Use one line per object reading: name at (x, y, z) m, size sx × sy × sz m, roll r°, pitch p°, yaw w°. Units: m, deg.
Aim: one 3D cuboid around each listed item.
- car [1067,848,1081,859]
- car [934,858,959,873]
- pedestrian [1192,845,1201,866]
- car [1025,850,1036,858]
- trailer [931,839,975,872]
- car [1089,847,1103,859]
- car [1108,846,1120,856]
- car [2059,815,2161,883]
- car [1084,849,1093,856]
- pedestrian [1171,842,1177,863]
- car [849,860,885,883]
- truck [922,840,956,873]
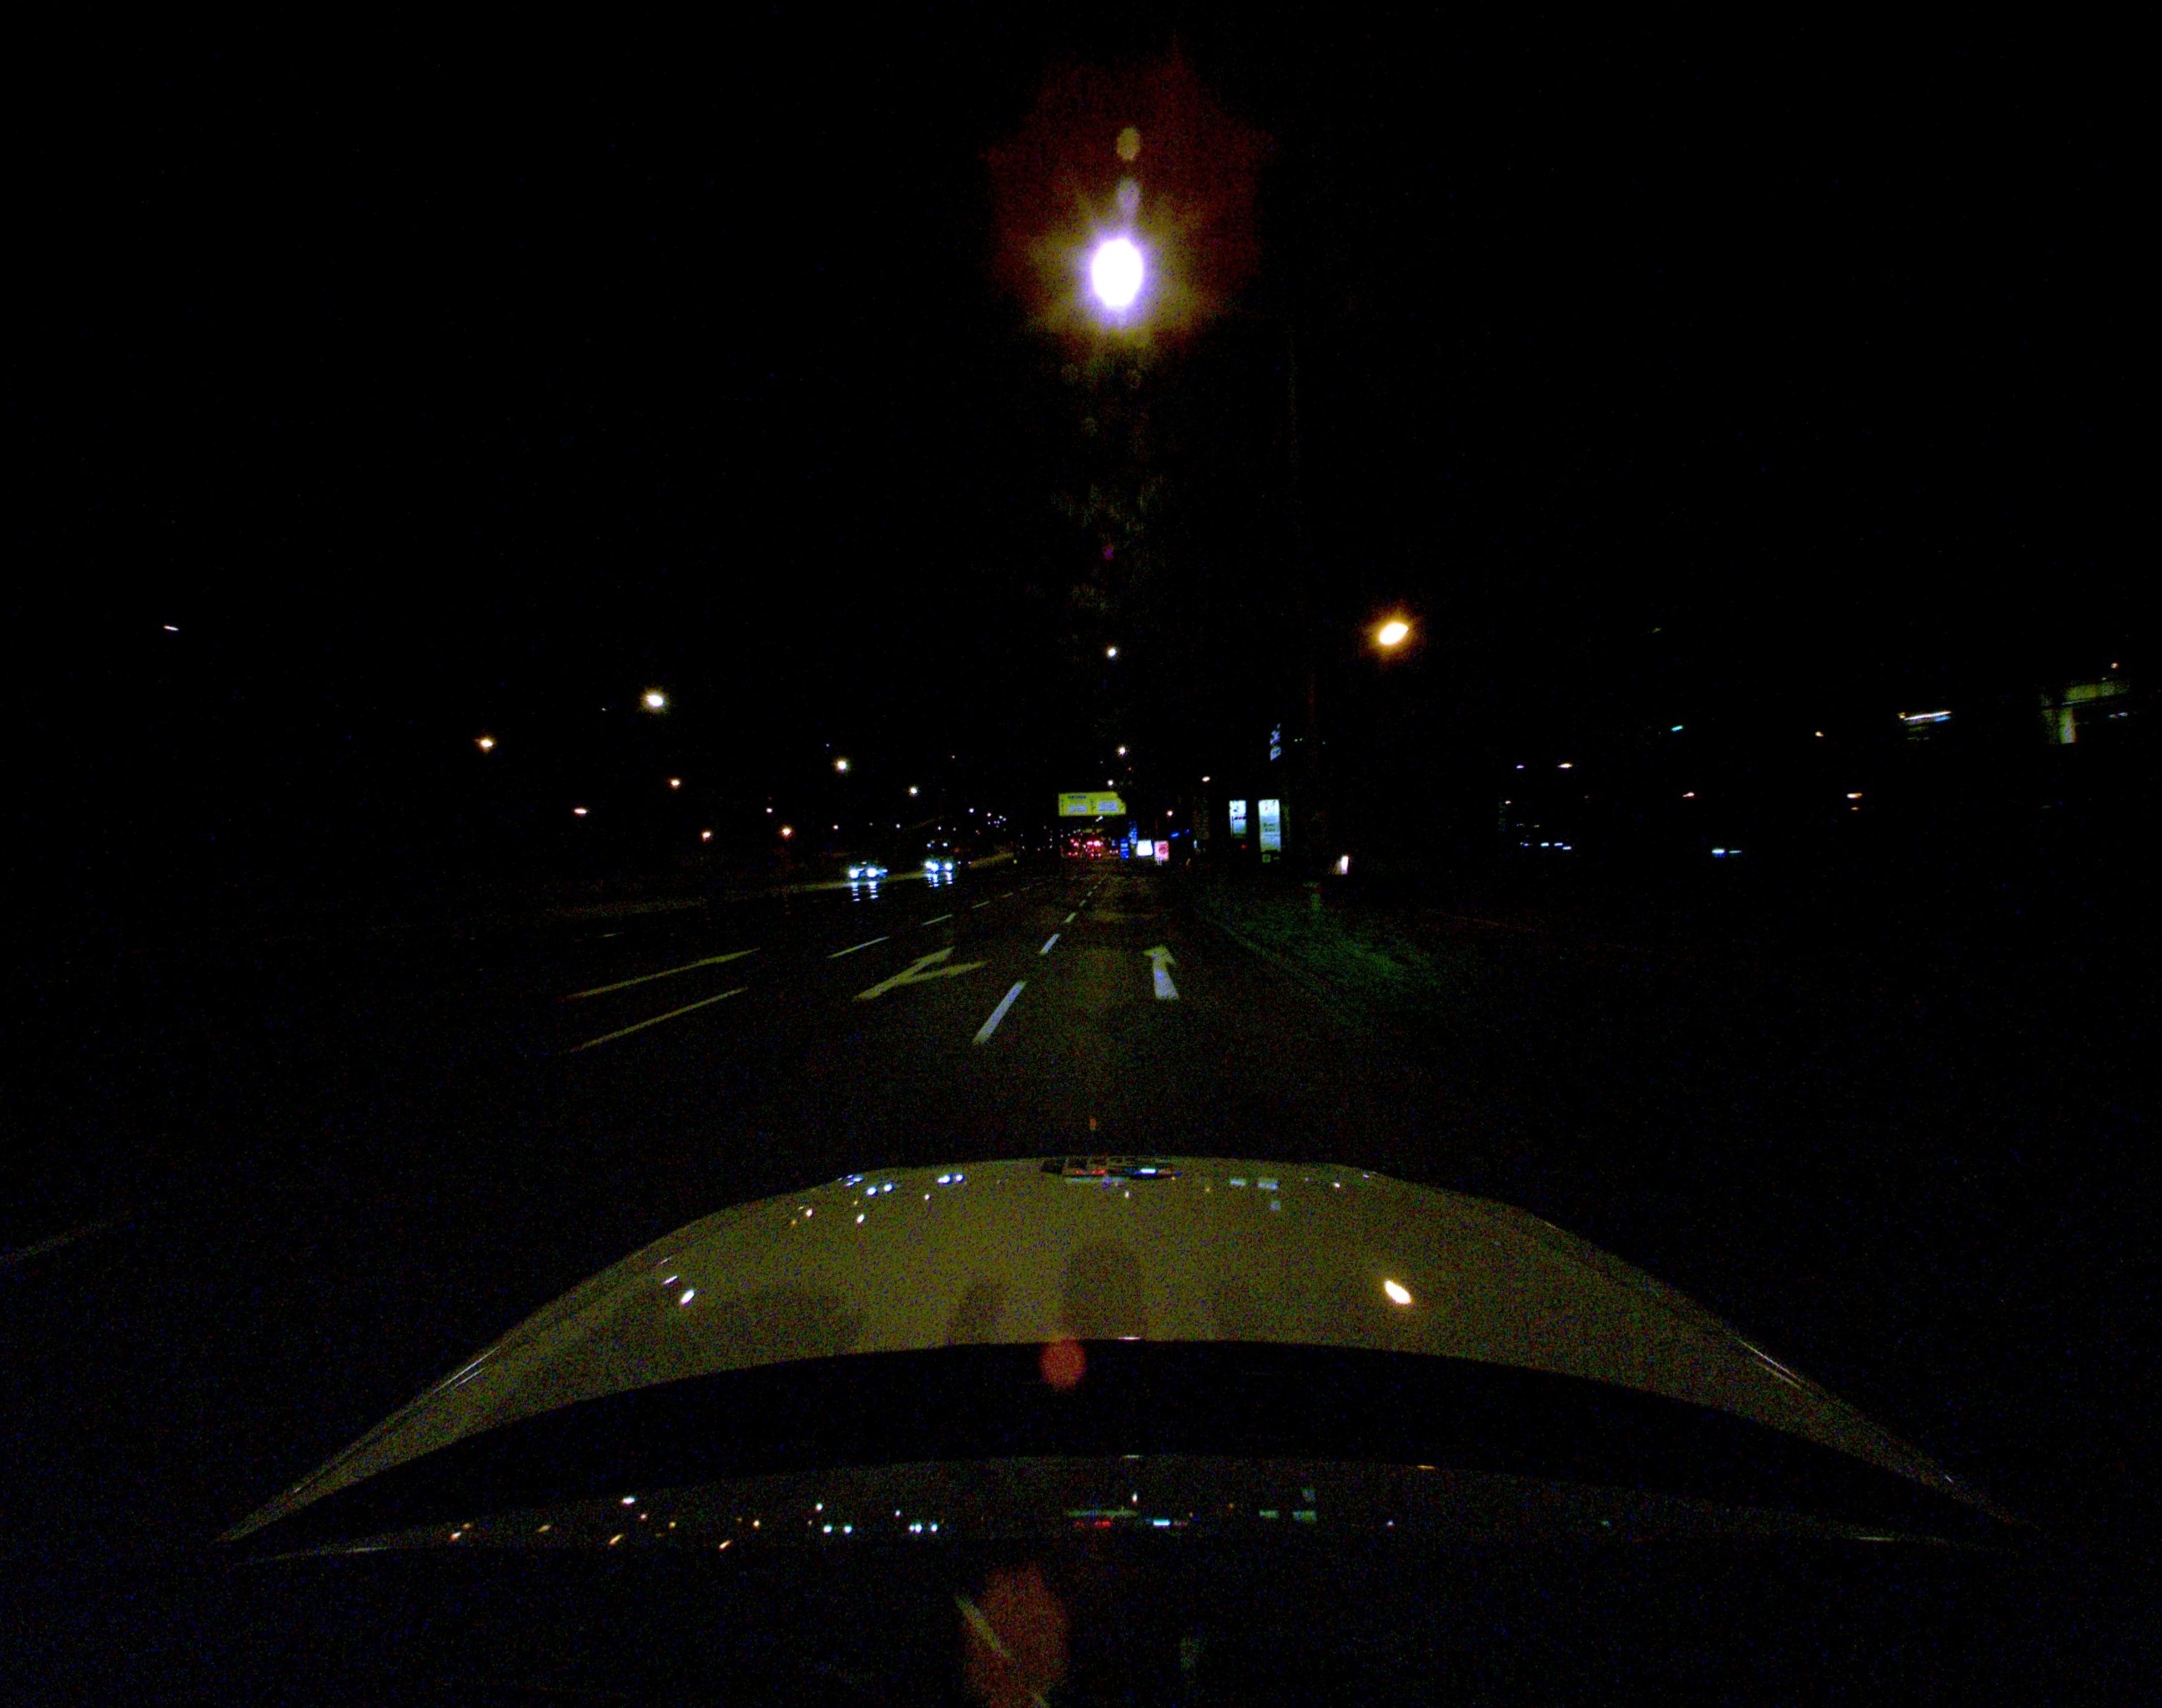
car at (-1.424, -0.050, 159.181) m, size 2.252 × 2.013 × 4.833 m, roll -1°, pitch 1°, yaw 5°
car at (-14.366, 1.243, 86.889) m, size 1.904 × 1.473 × 3.773 m, roll -1°, pitch 1°, yaw 1°
pedestrian at (11.256, 0.131, 79.381) m, size 0.759 × 2.063 × 0.644 m, roll -1°, pitch 0°, yaw 2°
car at (-11.314, -0.070, 183.414) m, size 1.986 × 1.703 × 4.002 m, roll -1°, pitch 1°, yaw 2°
trailer at (-16.726, 0.082, 107.388) m, size 2.982 × 4.000 × 13.963 m, roll -1°, pitch 1°, yaw 2°
car at (2.830, -0.118, 153.926) m, size 2.345 × 2.129 × 4.833 m, roll -1°, pitch 1°, yaw 5°
car at (7.652, -0.757, 187.152) m, size 2.416 × 2.113 × 4.833 m, roll -1°, pitch 1°, yaw 5°
car at (18.634, -0.127, 14.023) m, size 3.439 × 1.094 × 1.312 m, roll -2°, pitch 1°, yaw -22°
car at (1.696, -0.422, 191.663) m, size 1.986 × 1.553 × 4.002 m, roll -2°, pitch 0°, yaw 2°
pedestrian at (11.194, -0.191, 97.995) m, size 0.741 × 2.435 × 0.781 m, roll -1°, pitch 0°, yaw 4°
car at (-17.393, 1.393, 66.294) m, size 1.856 × 1.750 × 3.702 m, roll -1°, pitch 1°, yaw 1°
truck at (-17.100, 0.229, 98.427) m, size 3.029 × 3.819 × 4.938 m, roll -1°, pitch 1°, yaw 2°
